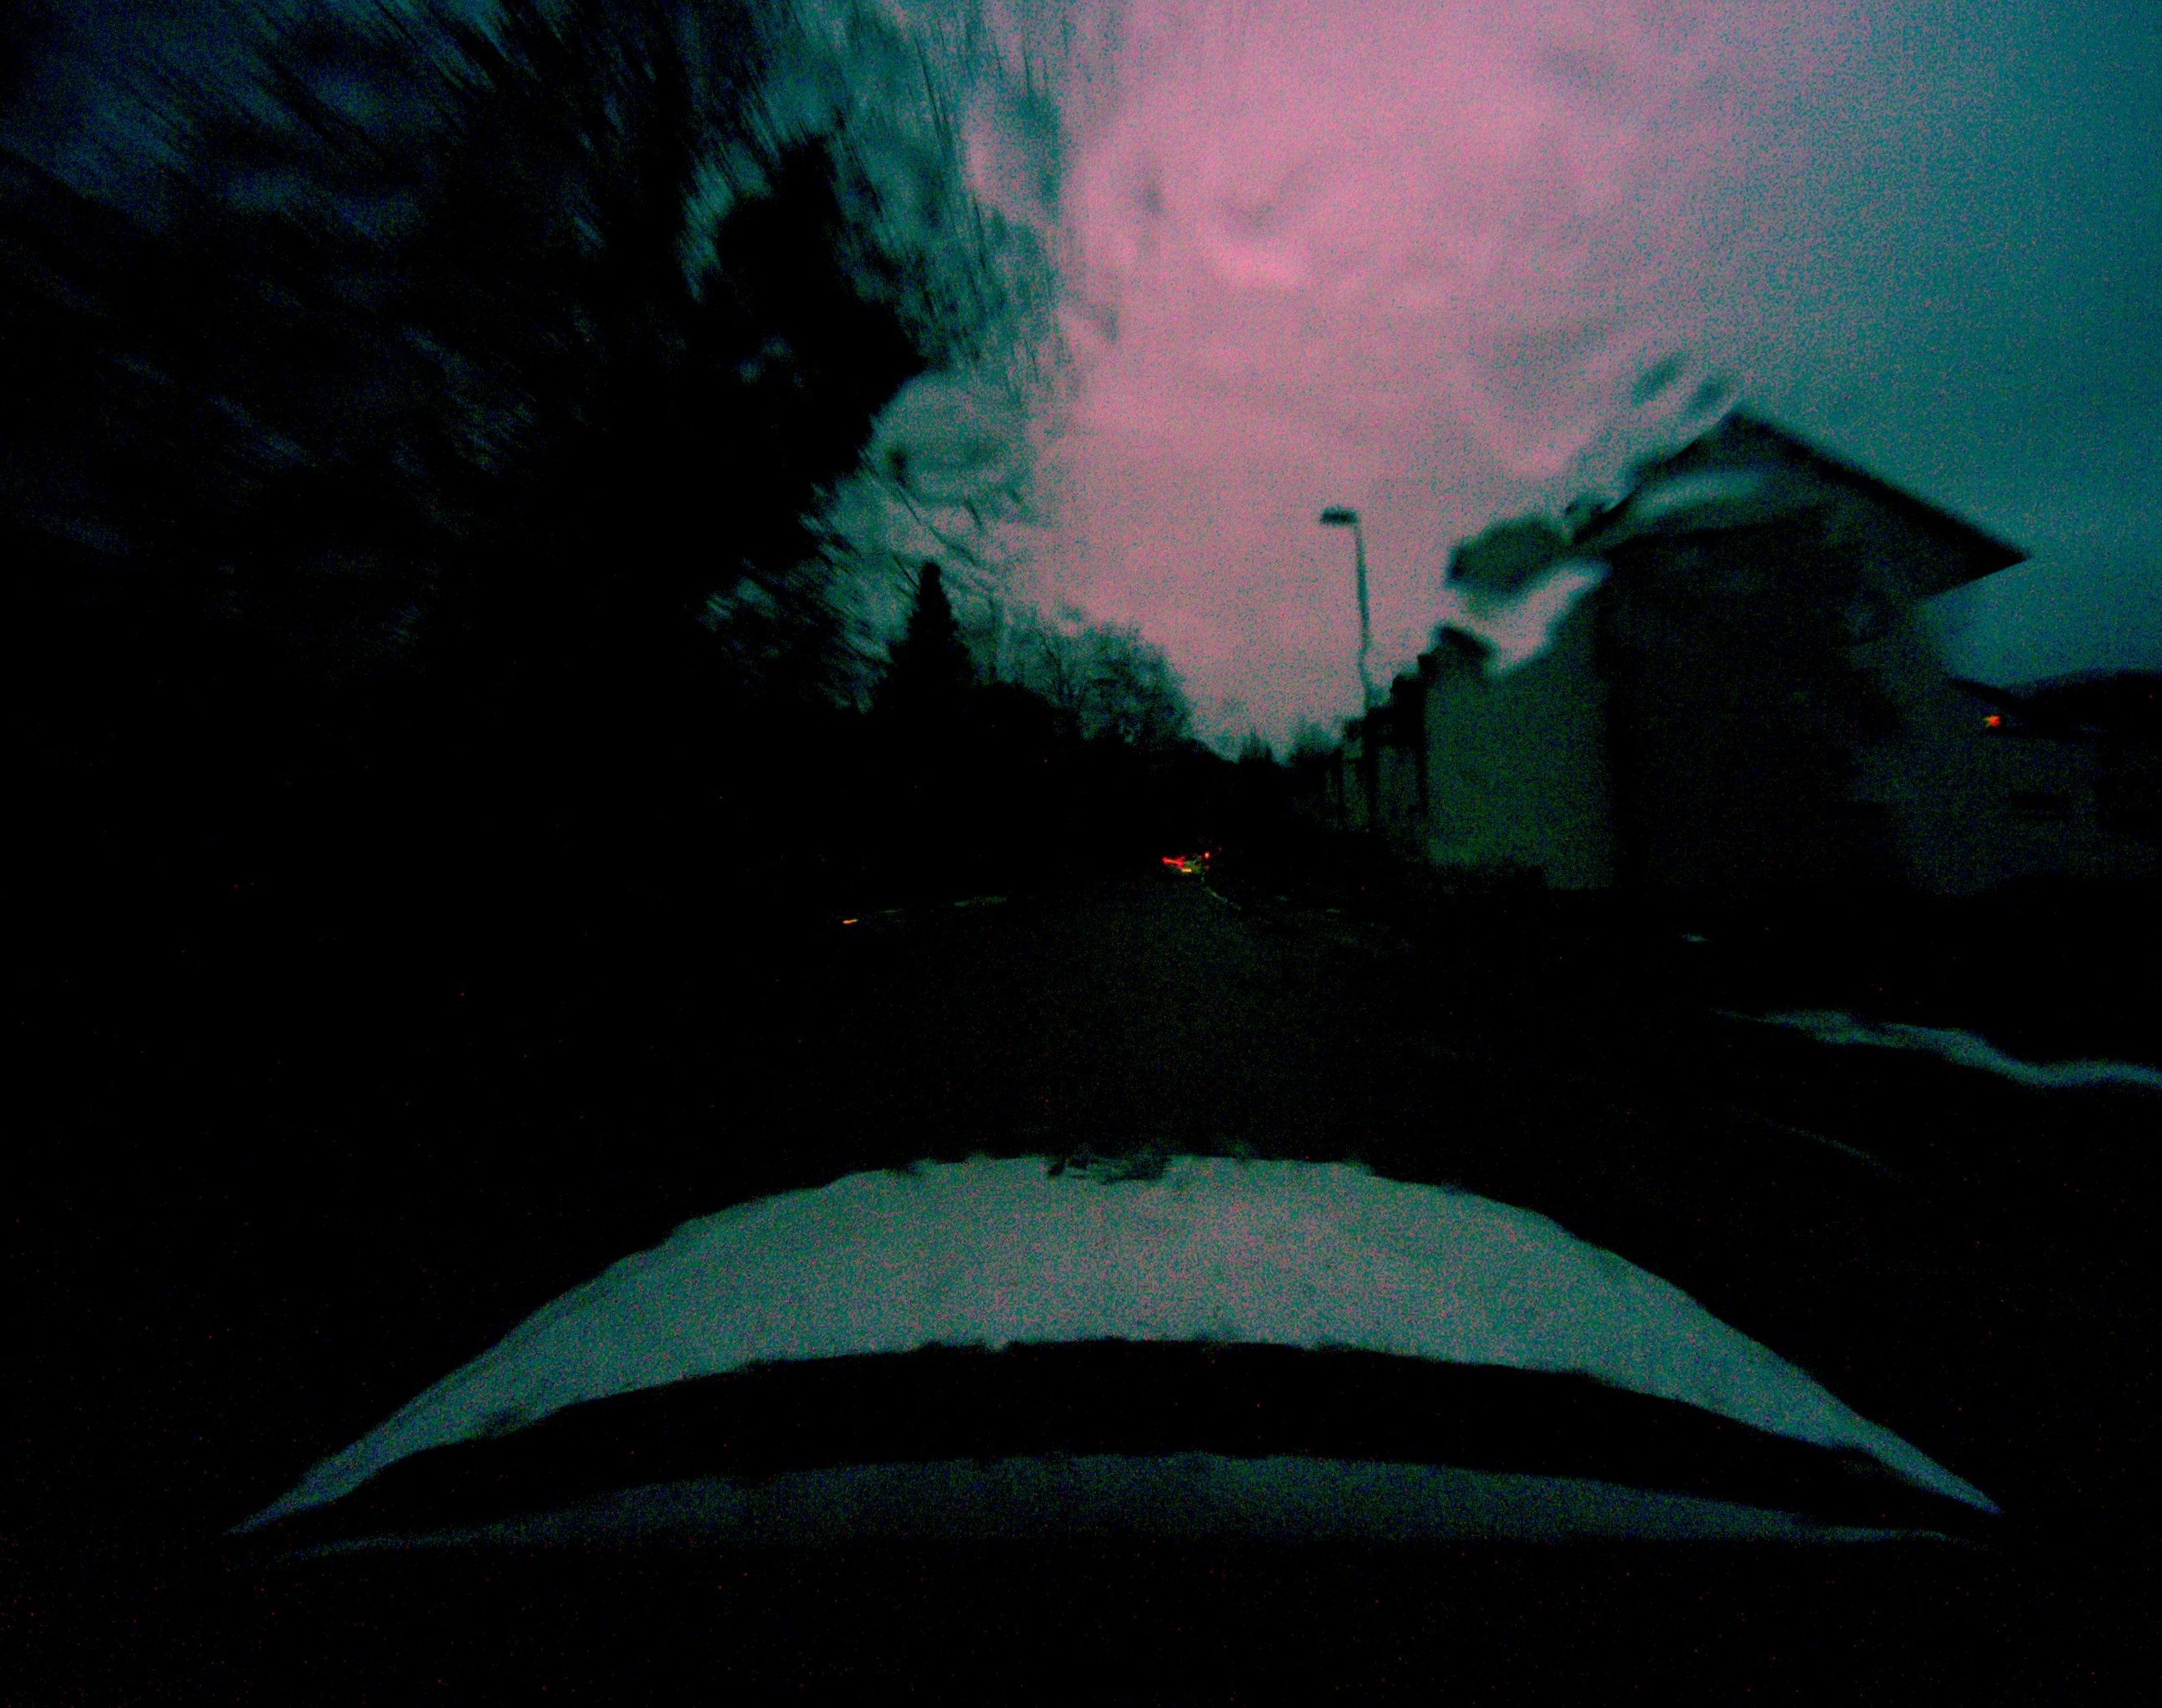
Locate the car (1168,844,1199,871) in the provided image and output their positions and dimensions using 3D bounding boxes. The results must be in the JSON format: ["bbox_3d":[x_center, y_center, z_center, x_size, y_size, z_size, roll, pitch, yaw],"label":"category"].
[{"bbox_3d":[5.976,0.215,47.468,1.694,1.506,4.033,-1,0,8],"label":"car"}]

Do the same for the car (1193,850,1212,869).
[{"bbox_3d":[12.178,0.522,81.396,1.679,1.774,3.871,-2,0,10],"label":"car"}]

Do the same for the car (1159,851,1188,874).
[{"bbox_3d":[7.665,0.660,66.990,1.920,1.781,4.013,-2,0,12],"label":"car"}]
